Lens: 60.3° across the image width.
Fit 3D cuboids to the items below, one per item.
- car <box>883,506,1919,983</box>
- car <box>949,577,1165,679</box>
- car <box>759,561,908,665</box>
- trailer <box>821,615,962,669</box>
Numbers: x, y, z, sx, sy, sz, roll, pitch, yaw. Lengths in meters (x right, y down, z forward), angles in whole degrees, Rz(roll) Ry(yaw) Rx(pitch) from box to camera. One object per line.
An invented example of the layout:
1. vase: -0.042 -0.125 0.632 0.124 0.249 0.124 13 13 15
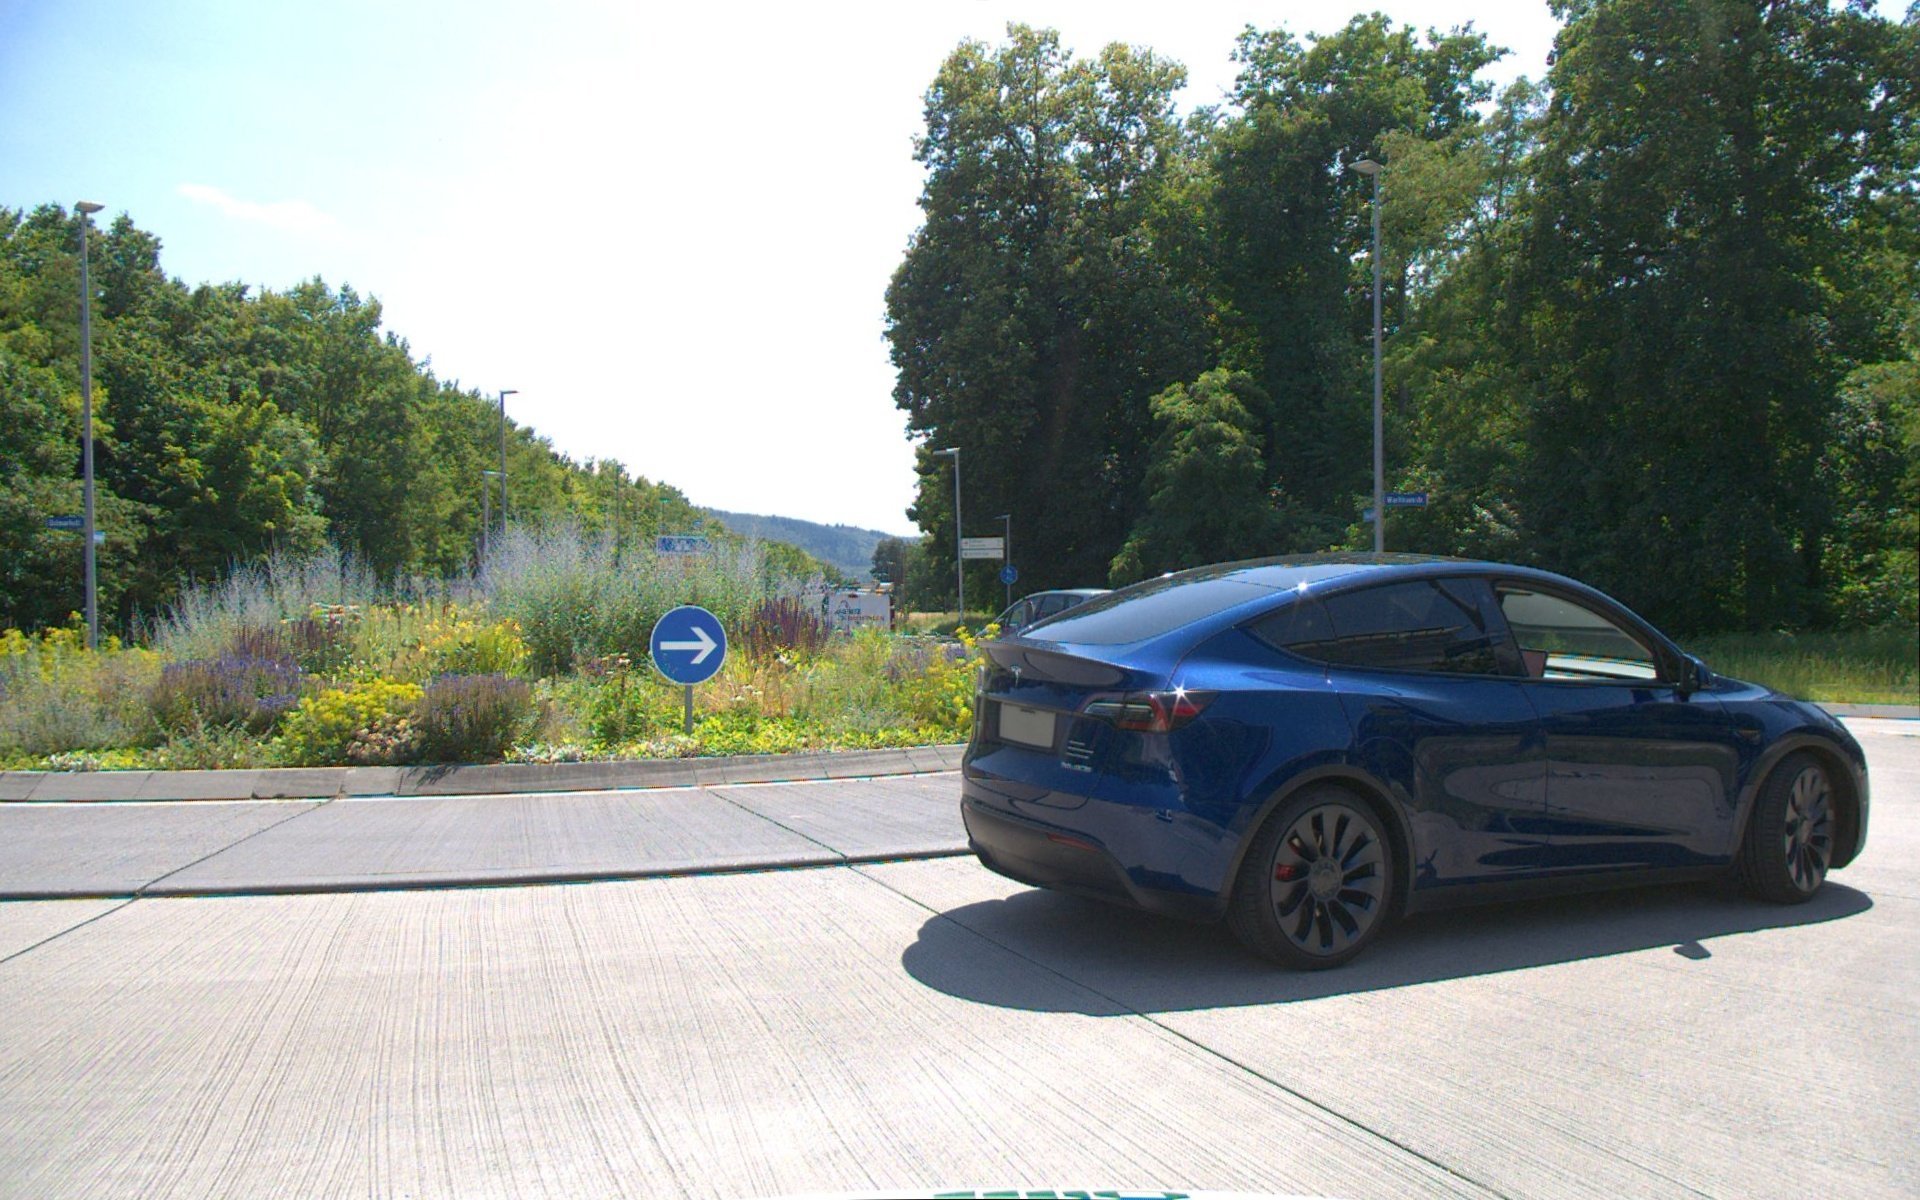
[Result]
1. car: 2.169 0.495 7.728 4.683 1.668 1.983 0 0 -26
2. car: 1.602 0.476 28.708 1.767 1.635 4.083 1 -1 -31
3. car: -3.156 0.324 40.324 2.137 2.357 4.944 1 -1 -23
4. trailer: -1.552 0.897 36.529 2.093 1.116 3.330 1 -1 -23
